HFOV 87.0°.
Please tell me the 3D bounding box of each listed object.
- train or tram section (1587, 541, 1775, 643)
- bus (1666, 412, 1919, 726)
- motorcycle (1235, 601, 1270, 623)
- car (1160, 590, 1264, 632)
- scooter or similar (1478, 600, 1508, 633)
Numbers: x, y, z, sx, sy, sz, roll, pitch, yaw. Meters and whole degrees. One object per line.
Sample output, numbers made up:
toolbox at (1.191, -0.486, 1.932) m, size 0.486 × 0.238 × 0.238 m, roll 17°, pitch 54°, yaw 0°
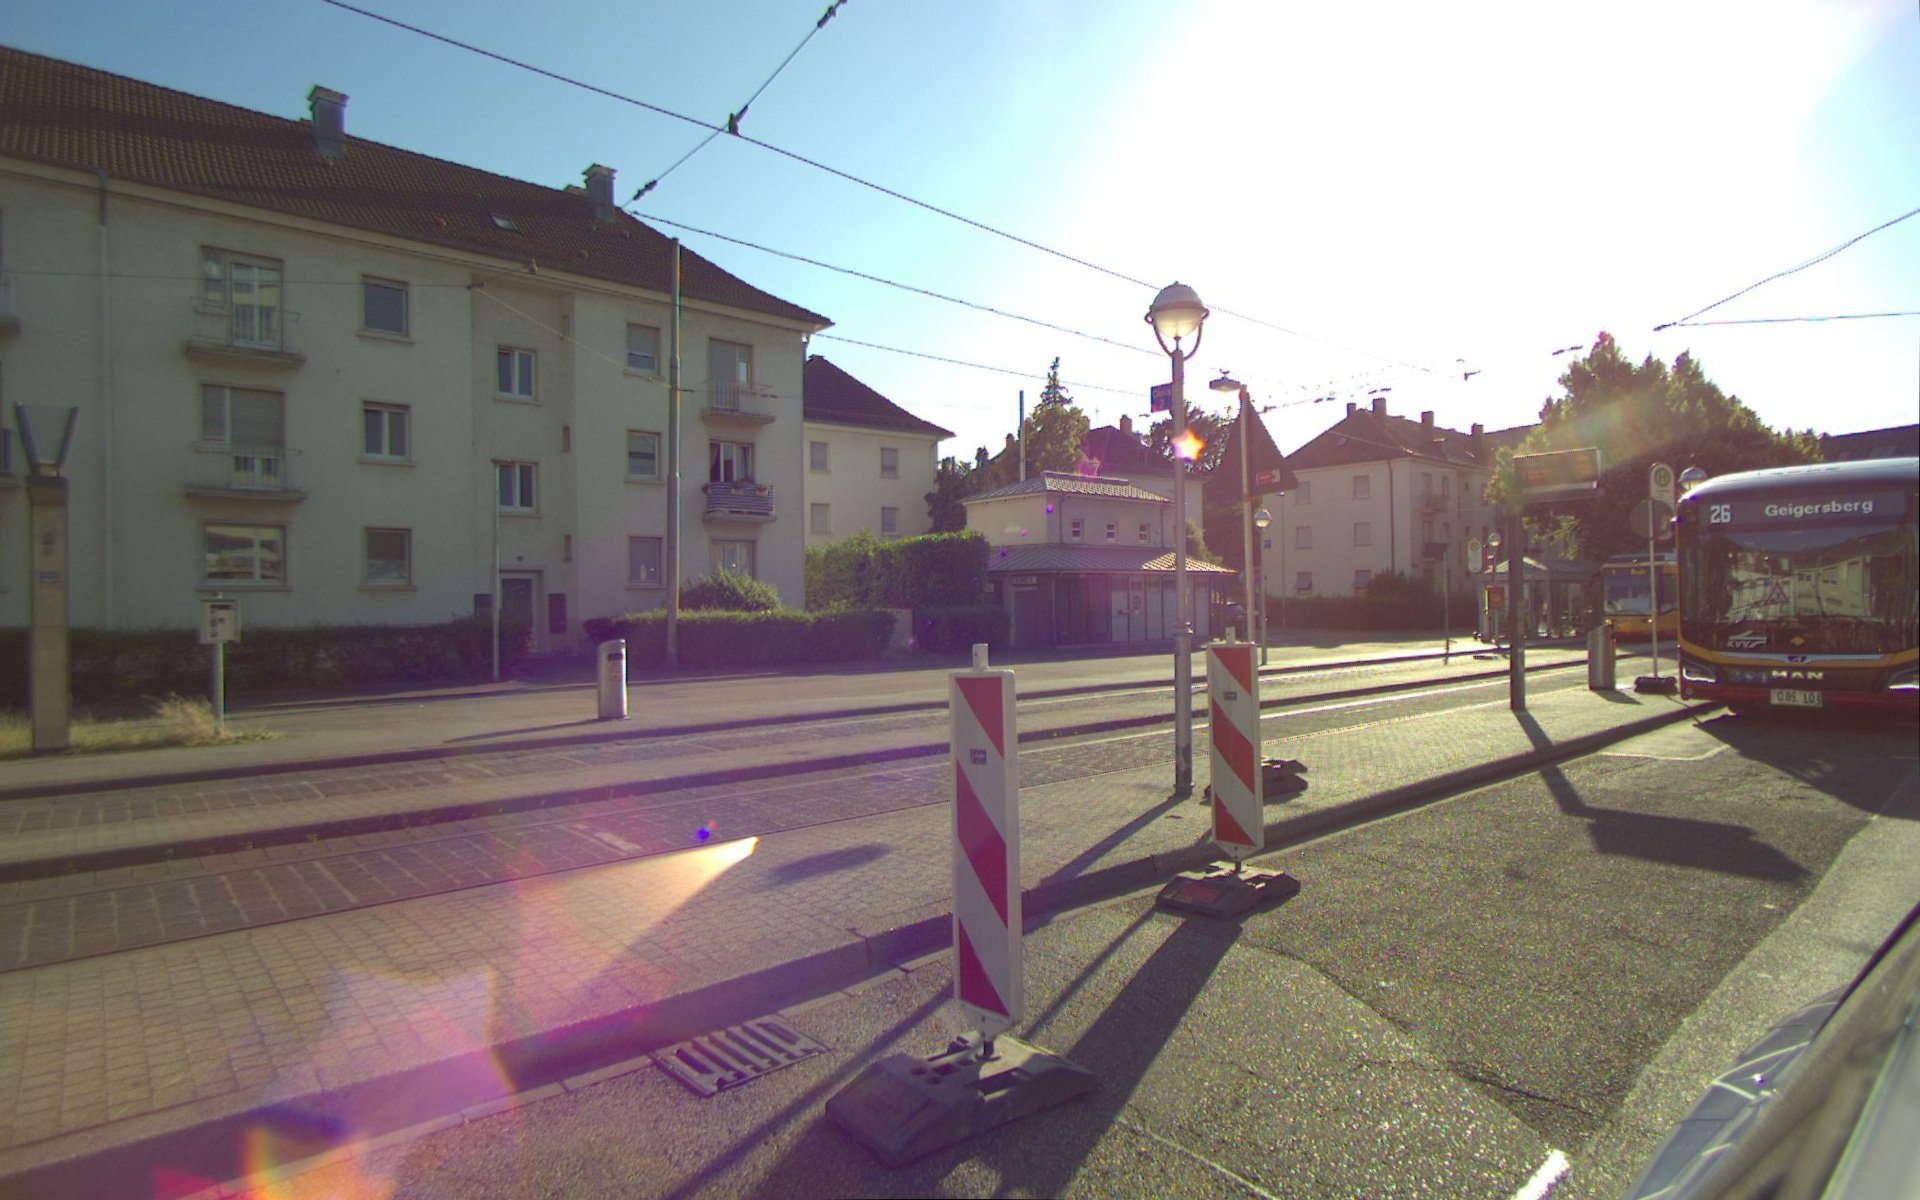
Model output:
train or tram section at (30.070, -0.521, 41.662) m, size 15.698 × 3.578 × 2.961 m, roll -2°, pitch 2°, yaw -42°
bus at (14.334, -0.368, 15.850) m, size 11.810 × 3.460 × 2.692 m, roll 0°, pitch 0°, yaw -42°
motorcycle at (15.856, 0.660, 54.907) m, size 0.549 × 1.177 × 1.823 m, roll 0°, pitch 0°, yaw -43°
car at (11.633, 0.468, 46.910) m, size 1.963 × 1.791 × 4.451 m, roll -1°, pitch 1°, yaw -37°
scooter or similar at (20.697, 0.639, 39.289) m, size 1.185 × 1.223 × 0.468 m, roll -1°, pitch 0°, yaw -30°
